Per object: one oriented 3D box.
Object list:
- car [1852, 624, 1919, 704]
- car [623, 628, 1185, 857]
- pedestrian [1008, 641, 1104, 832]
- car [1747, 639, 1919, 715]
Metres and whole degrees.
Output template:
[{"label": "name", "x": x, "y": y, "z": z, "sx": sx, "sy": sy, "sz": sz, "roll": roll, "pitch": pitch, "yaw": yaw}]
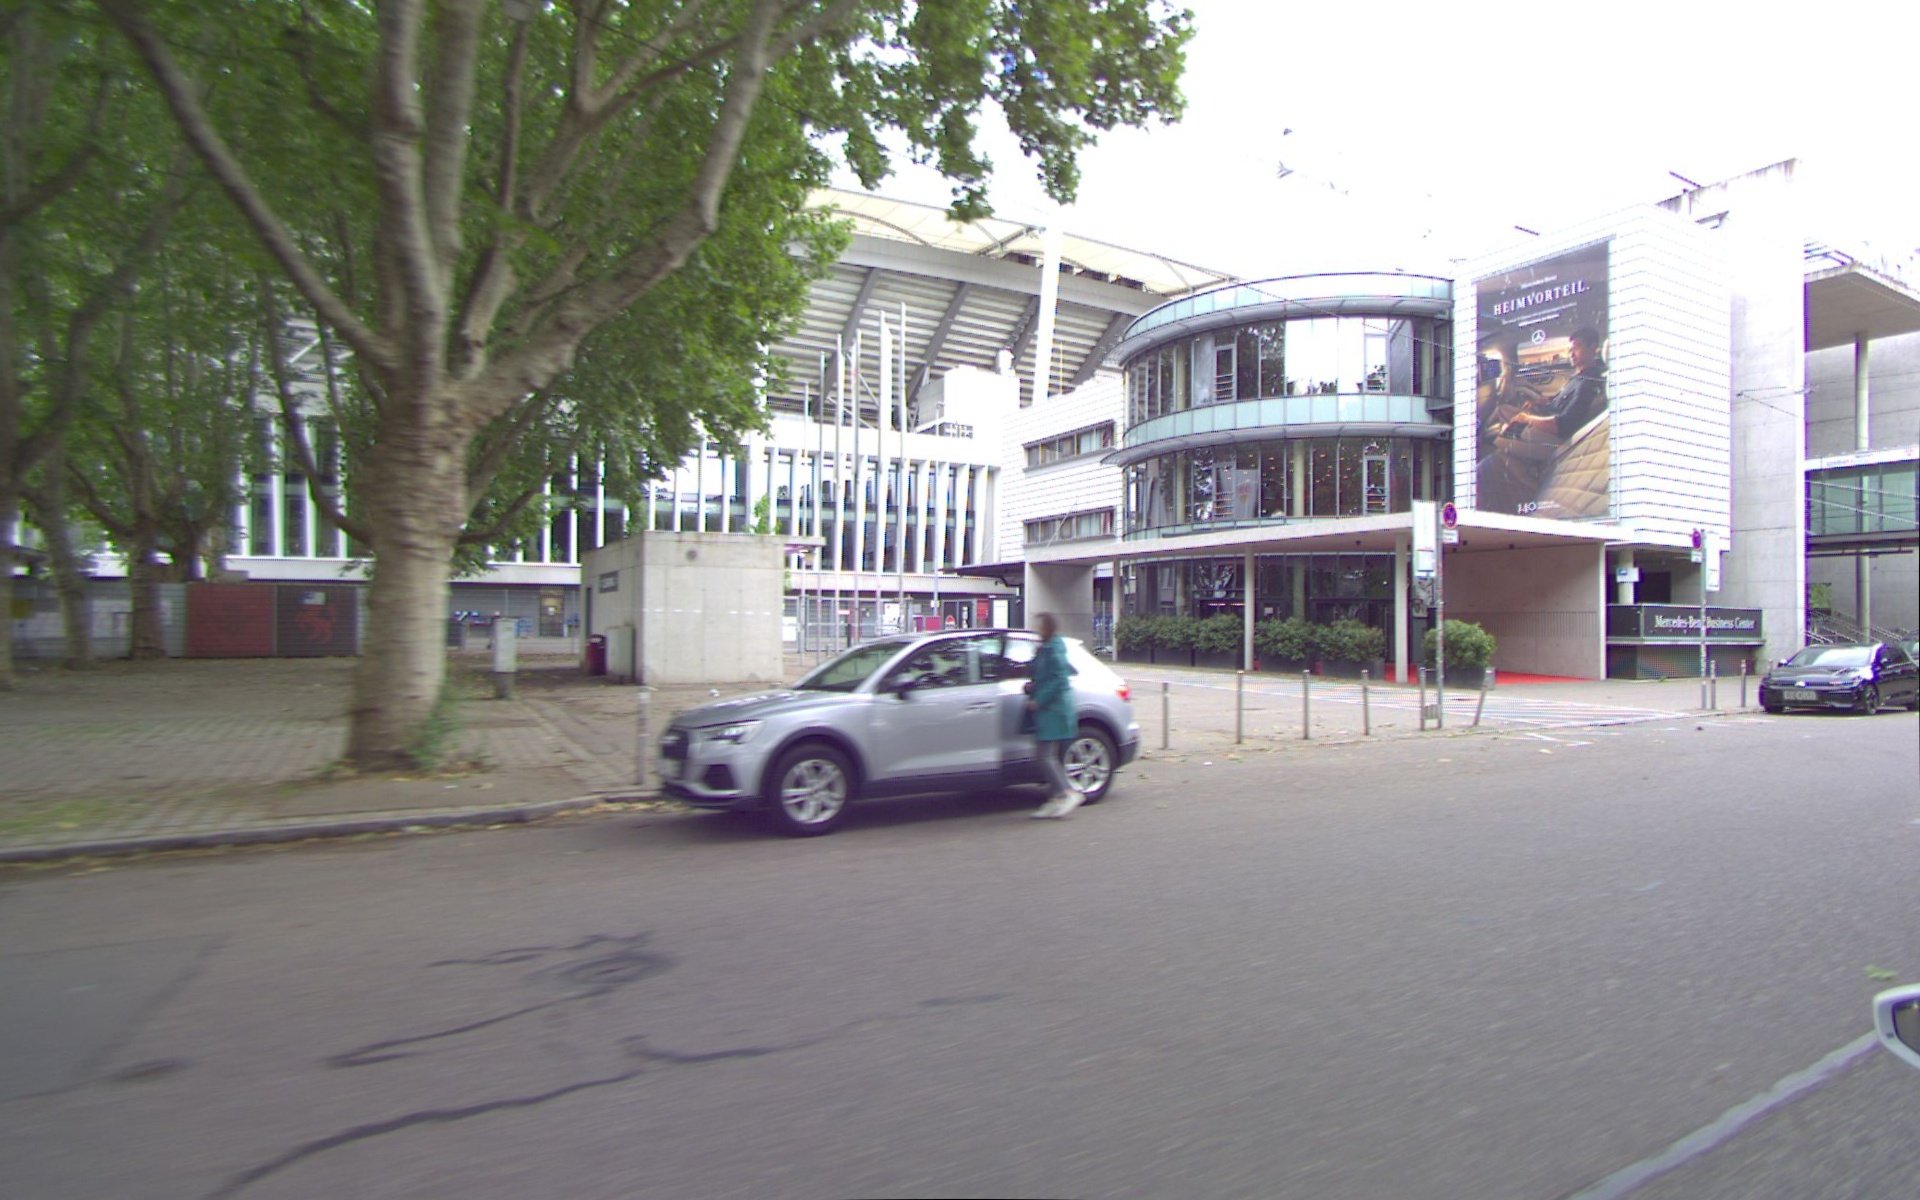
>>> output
[{"label": "car", "x": 23.685, "y": 1.484, "z": 24.020, "sx": 4.850, "sy": 1.812, "sz": 2.026, "roll": 1, "pitch": -4, "yaw": -30}, {"label": "car", "x": -0.429, "y": 1.054, "z": 9.118, "sx": 4.700, "sy": 1.583, "sz": 2.064, "roll": 1, "pitch": -1, "yaw": -30}, {"label": "pedestrian", "x": 0.793, "y": 1.093, "z": 8.325, "sx": 0.560, "sy": 1.486, "sz": 0.581, "roll": 1, "pitch": 0, "yaw": -27}, {"label": "car", "x": 18.670, "y": 1.577, "z": 21.237, "sx": 4.273, "sy": 1.438, "sz": 1.697, "roll": 1, "pitch": -4, "yaw": -30}]
